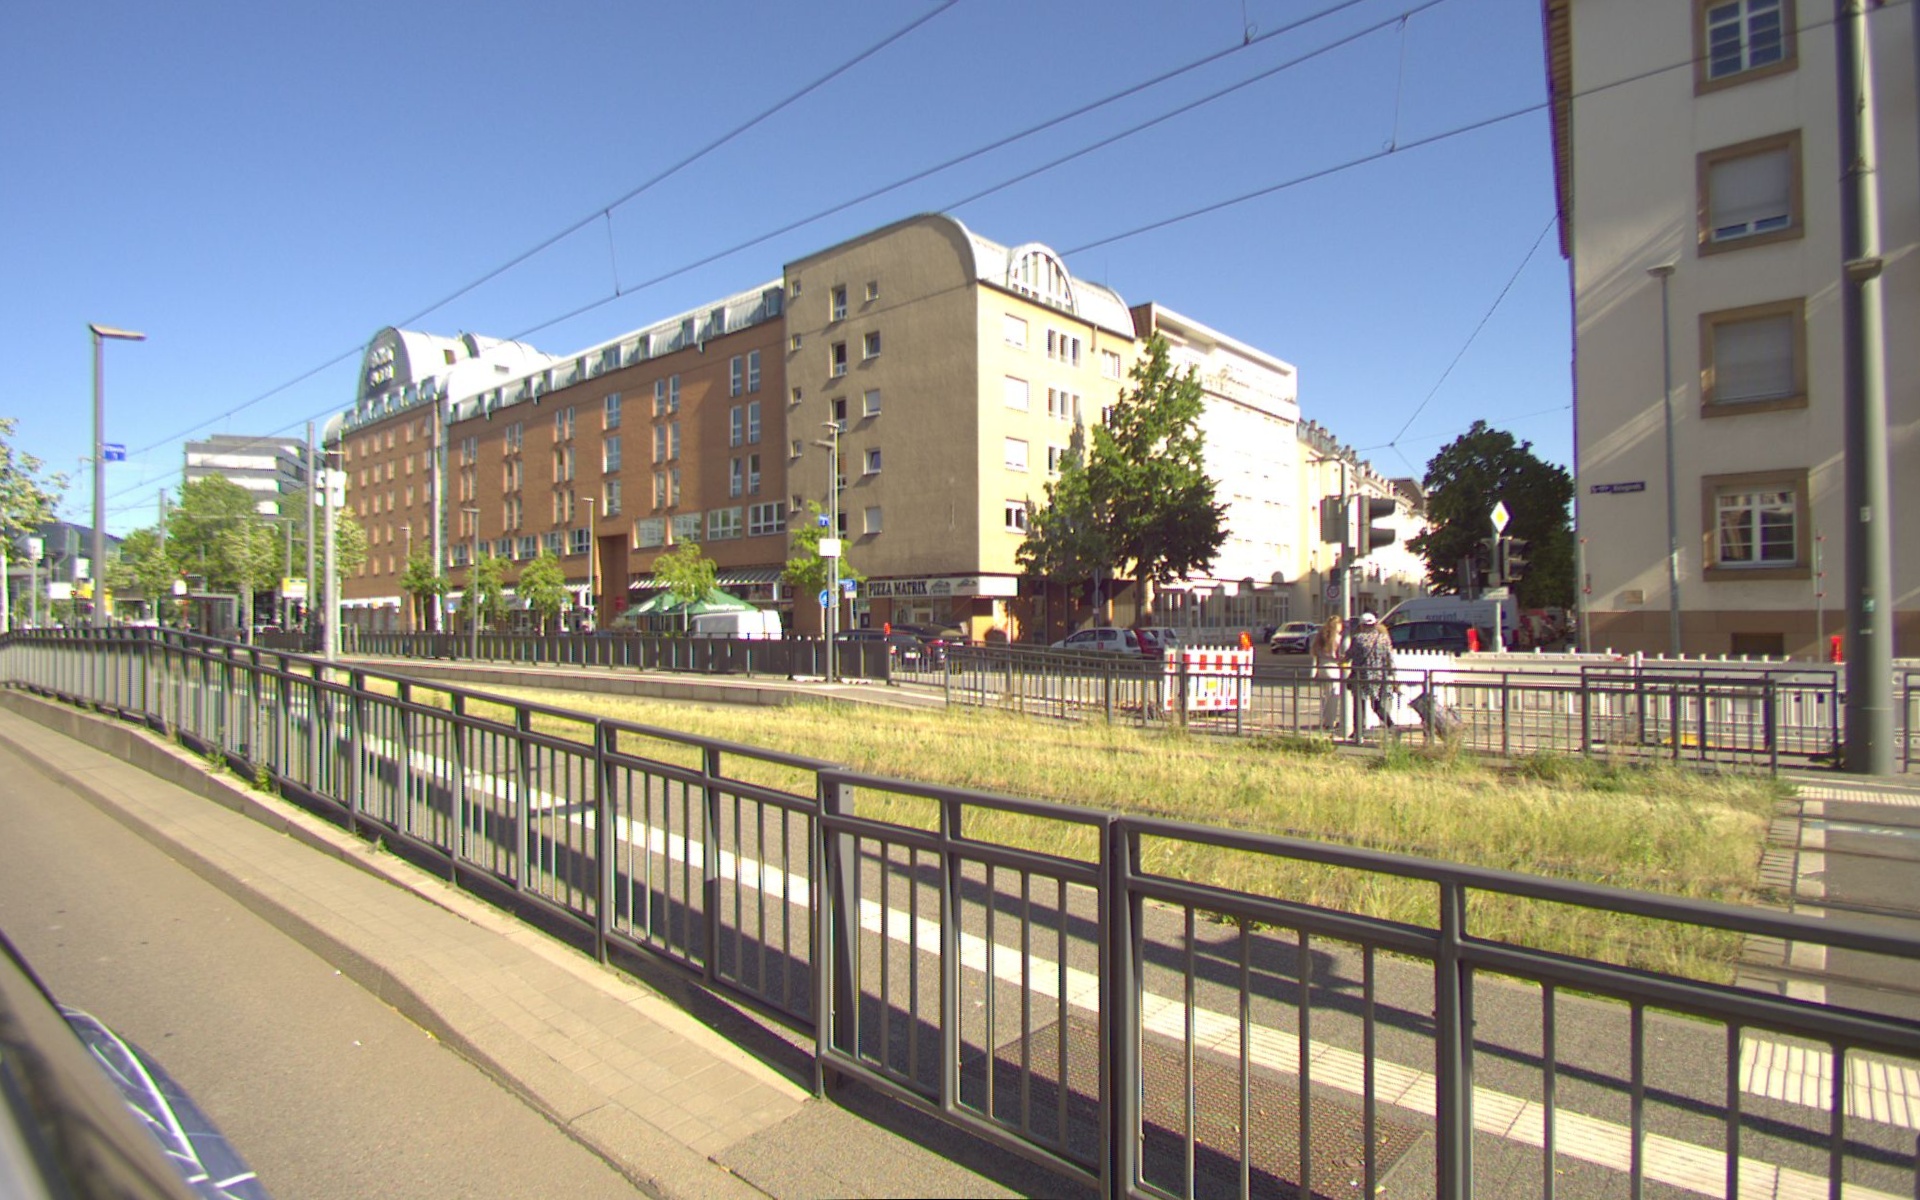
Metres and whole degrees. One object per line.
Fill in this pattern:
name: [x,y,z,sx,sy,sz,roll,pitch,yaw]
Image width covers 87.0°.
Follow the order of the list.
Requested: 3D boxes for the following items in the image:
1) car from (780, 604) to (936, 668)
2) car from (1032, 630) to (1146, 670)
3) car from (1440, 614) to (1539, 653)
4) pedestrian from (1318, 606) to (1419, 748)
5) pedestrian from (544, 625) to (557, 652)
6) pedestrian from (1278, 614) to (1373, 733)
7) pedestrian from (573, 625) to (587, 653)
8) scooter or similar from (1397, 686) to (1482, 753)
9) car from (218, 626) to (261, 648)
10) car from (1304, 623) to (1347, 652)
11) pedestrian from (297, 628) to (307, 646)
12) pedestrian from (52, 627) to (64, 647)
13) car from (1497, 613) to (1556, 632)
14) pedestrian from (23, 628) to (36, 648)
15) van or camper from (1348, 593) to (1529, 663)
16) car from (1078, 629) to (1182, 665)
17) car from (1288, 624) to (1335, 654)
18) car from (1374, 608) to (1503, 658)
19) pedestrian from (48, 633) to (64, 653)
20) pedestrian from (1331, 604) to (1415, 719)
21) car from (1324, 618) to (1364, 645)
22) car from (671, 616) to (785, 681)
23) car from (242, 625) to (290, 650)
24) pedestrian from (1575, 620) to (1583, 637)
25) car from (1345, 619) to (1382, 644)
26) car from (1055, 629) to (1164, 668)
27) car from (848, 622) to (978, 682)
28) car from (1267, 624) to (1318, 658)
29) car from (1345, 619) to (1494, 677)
car: [-2.683,0.923,26.104,3.998,1.527,1.797,-2,-2,41]
car: [4.930,1.890,38.711,3.980,1.462,1.768,-1,-2,28]
car: [25.221,1.580,48.204,3.990,1.789,1.722,-1,-2,35]
pedestrian: [4.737,0.859,11.732,0.816,1.548,0.786,-2,-1,45]
pedestrian: [-28.263,2.655,69.800,0.644,1.854,0.614,-2,-2,39]
pedestrian: [5.017,0.981,13.901,0.855,1.548,0.910,0,-1,-43]
pedestrian: [-24.827,2.535,66.163,0.644,1.854,0.614,-2,-2,41]
scooter or similar: [5.304,1.310,11.205,0.709,0.656,0.508,-2,-1,45]
car: [-57.944,2.950,81.374,3.998,1.696,1.973,-1,0,41]
car: [22.154,2.236,61.287,1.947,1.674,3.962,-1,-2,28]
pedestrian: [-63.483,3.566,97.676,0.706,1.769,0.780,1,-2,-43]
pedestrian: [-71.330,2.927,80.069,0.600,1.581,0.911,-1,-1,-36]
car: [44.363,1.756,79.347,3.853,1.472,1.740,-1,-2,24]
pedestrian: [-71.853,2.935,78.151,0.599,1.581,0.730,0,-2,-29]
van or camper: [17.713,1.050,37.593,5.933,2.419,1.979,-1,-2,30]
car: [7.141,1.947,42.592,3.980,1.462,1.768,-1,-2,28]
car: [19.939,2.184,57.387,1.947,1.674,3.962,-1,-2,28]
car: [15.724,1.082,33.303,3.654,1.533,1.673,-1,-2,32]
pedestrian: [-72.534,3.442,81.205,0.600,1.581,0.729,-1,-1,-8]
pedestrian: [6.696,0.969,16.423,0.853,1.794,0.911,-1,-1,-37]
car: [25.055,2.043,66.007,1.947,1.674,3.962,-1,-2,28]
car: [-9.314,1.864,40.215,1.969,2.388,5.653,0,-2,-41]
car: [-50.962,2.734,74.343,3.998,1.696,1.973,-1,0,41]
pedestrian: [63.571,2.940,103.922,0.687,1.768,0.807,-2,-2,34]
car: [28.134,2.172,70.495,1.947,1.674,3.962,-1,-2,28]
car: [5.968,1.925,40.514,3.980,1.462,1.768,-1,-2,28]
car: [-1.524,1.593,32.018,3.997,1.773,1.796,-2,-2,40]
car: [17.607,2.133,53.505,1.947,1.674,3.962,-1,-2,28]
car: [13.003,1.332,28.706,3.662,1.533,1.673,-1,-2,32]
